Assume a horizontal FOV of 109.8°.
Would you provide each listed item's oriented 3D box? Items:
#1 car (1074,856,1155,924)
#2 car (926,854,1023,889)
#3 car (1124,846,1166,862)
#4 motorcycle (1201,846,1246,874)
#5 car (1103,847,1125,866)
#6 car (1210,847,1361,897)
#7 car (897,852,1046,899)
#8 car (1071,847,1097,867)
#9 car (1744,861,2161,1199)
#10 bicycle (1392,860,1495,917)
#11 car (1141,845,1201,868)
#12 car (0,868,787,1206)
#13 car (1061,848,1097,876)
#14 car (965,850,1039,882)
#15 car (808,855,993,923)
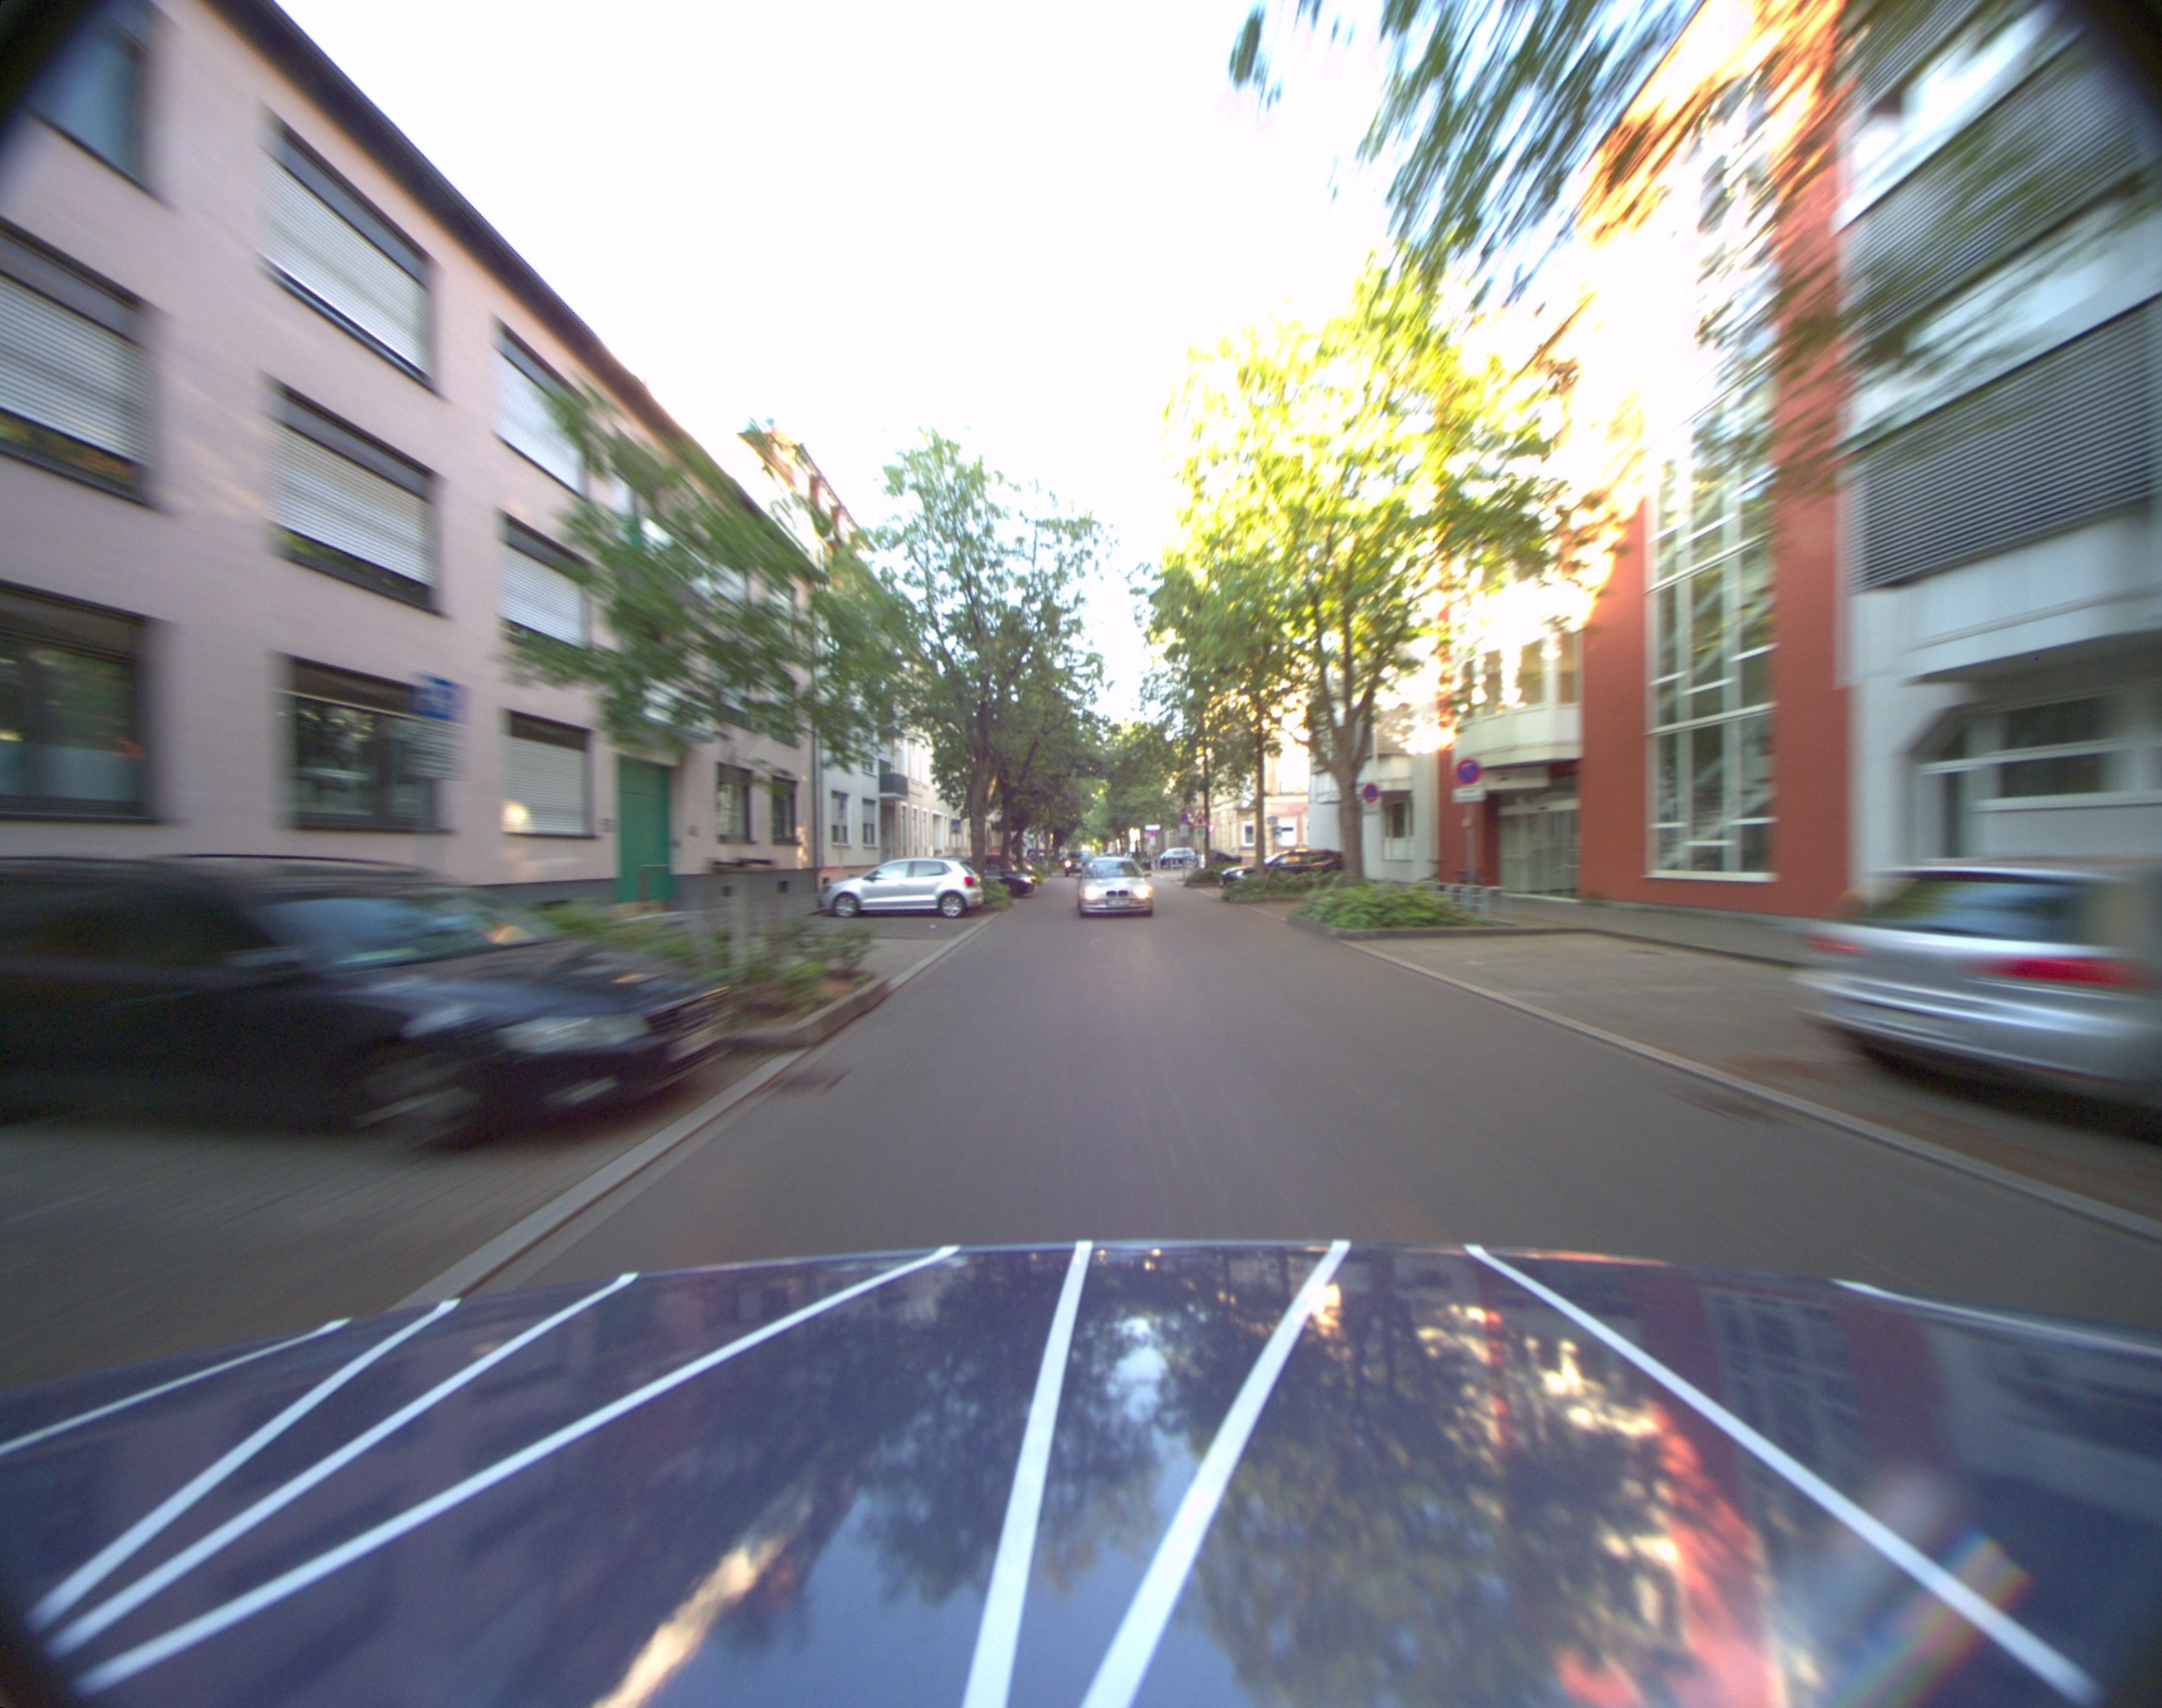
[{"bbox_3d":[0.747,0.787,18.523,1.736,1.363,4.332,-1,1,1],"label":"car"},{"bbox_3d":[-4.334,0.701,31.389,3.846,1.403,1.712,0,1,-4],"label":"car"},{"bbox_3d":[7.112,-0.017,84.334,4.529,1.706,2.000,-1,1,1],"label":"car"},{"bbox_3d":[7.689,0.318,41.000,2.234,1.461,0.900,-1,1,-22],"label":"motorcycle"},{"bbox_3d":[3.068,0.192,71.264,1.787,1.679,4.384,-1,1,-2],"label":"car"},{"bbox_3d":[6.713,0.578,25.270,4.520,1.517,1.871,-1,1,0],"label":"car"},{"bbox_3d":[-3.731,0.734,26.536,4.886,1.488,1.988,-1,1,1],"label":"car"},{"bbox_3d":[0.299,0.240,65.928,1.915,1.679,3.972,-1,1,6],"label":"car"},{"bbox_3d":[6.790,0.805,4.393,4.178,1.460,1.953,-1,1,1],"label":"car"},{"bbox_3d":[7.851,0.726,16.505,1.964,1.170,0.655,-1,1,-6],"label":"bicycle"},{"bbox_3d":[7.129,0.162,60.263,4.601,1.725,2.142,-1,1,5],"label":"car"},{"bbox_3d":[-4.669,0.895,4.743,4.851,1.440,2.042,1,1,3],"label":"car"},{"bbox_3d":[-0.096,0.452,47.793,1.892,1.636,4.001,-2,1,5],"label":"car"},{"bbox_3d":[-4.127,0.610,40.073,3.731,1.544,1.754,-1,1,-2],"label":"car"},{"bbox_3d":[-4.297,0.820,18.566,4.093,1.482,1.797,-1,1,-2],"label":"car"}]
